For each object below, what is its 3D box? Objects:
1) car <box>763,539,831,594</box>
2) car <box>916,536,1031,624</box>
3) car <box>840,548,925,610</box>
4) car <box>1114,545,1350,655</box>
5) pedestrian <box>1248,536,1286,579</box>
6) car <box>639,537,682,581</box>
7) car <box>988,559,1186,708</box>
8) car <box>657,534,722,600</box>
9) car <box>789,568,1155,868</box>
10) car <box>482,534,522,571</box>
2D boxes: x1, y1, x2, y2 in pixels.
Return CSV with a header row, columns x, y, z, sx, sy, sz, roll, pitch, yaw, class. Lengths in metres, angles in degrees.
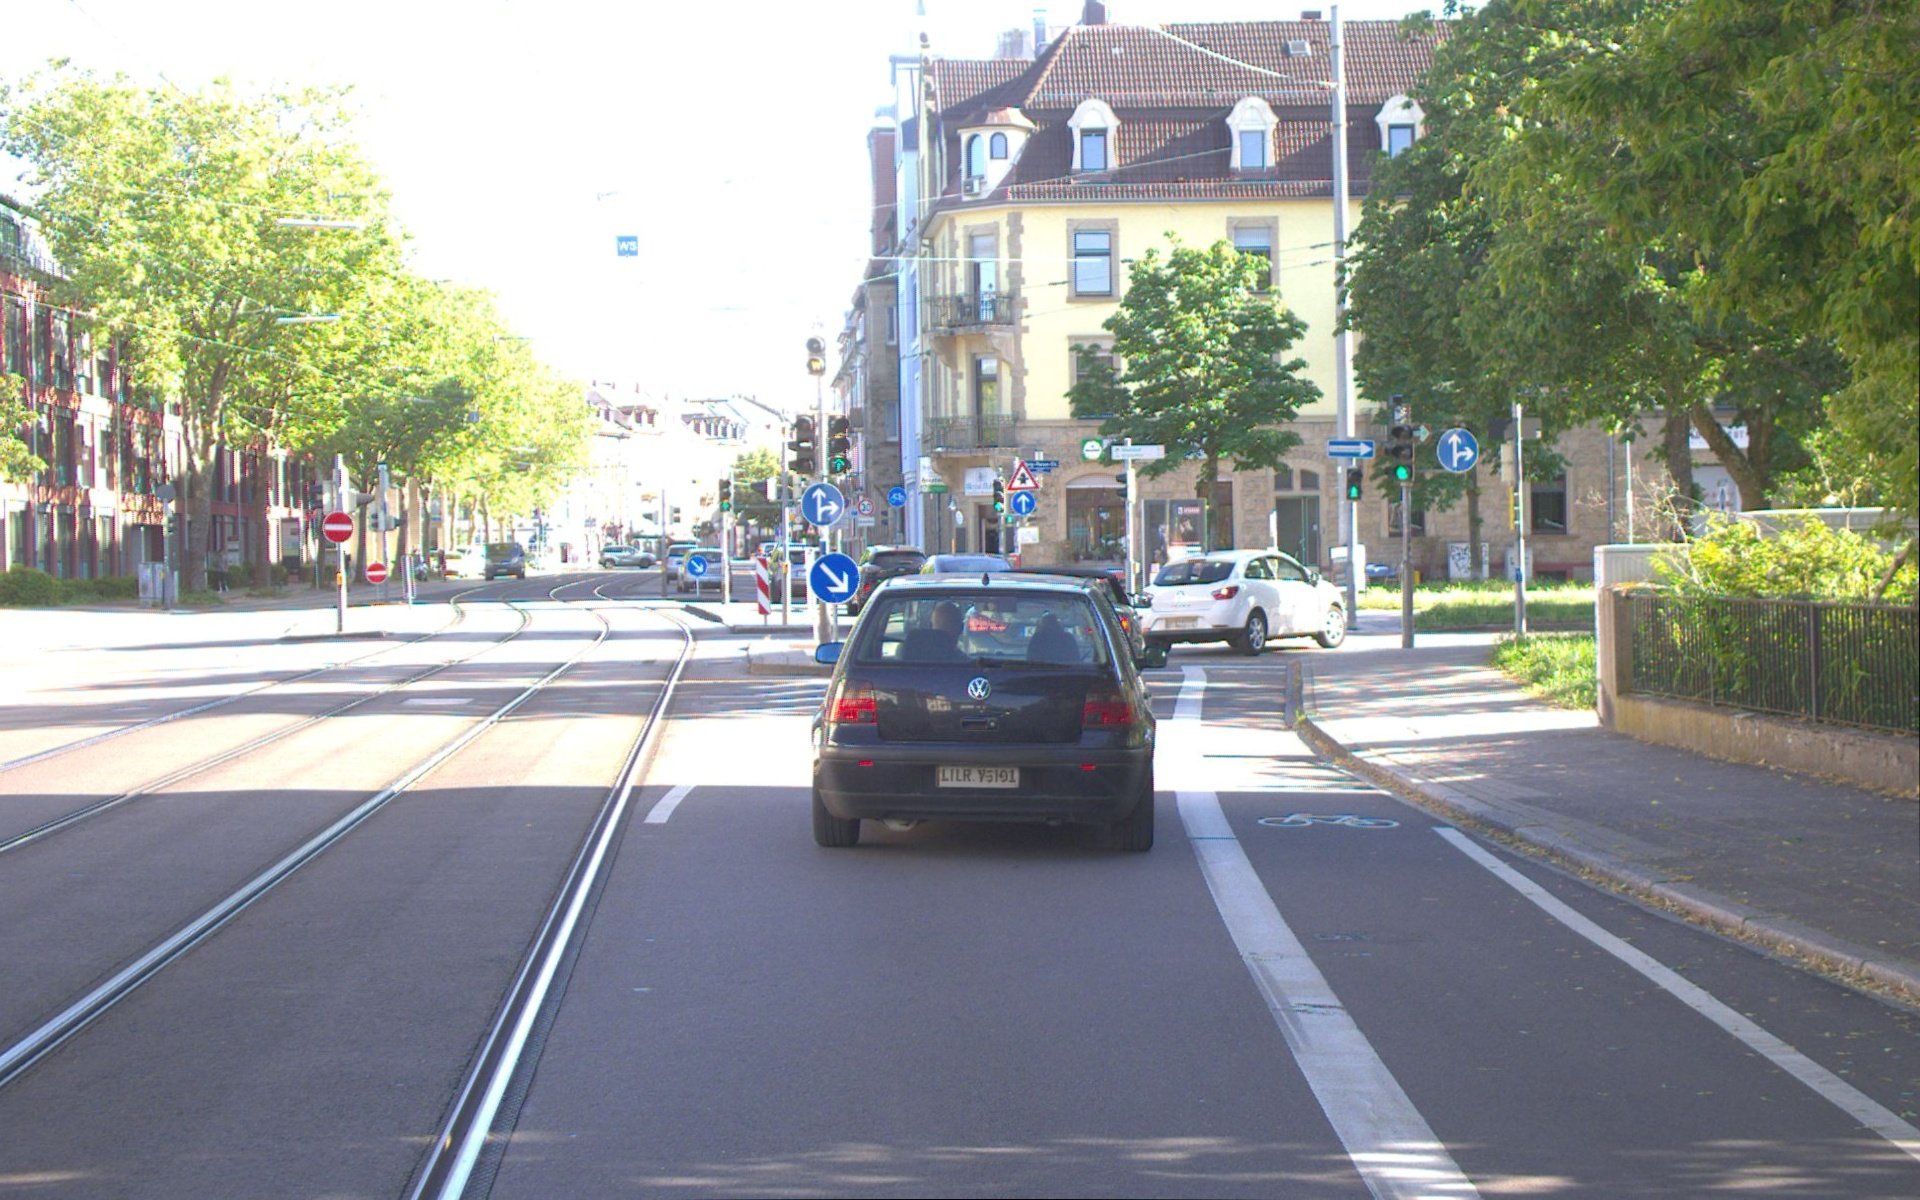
x,y,z,sx,sy,sz,roll,pitch,yaw,class
-4.474,-0.920,94.171,1.680,1.448,3.380,-1,1,-5,car
0.196,-0.362,58.971,1.569,1.306,3.648,-1,3,-6,car
-1.718,-0.477,75.310,1.569,1.307,3.500,-1,1,-6,car
3.835,-0.023,47.948,1.743,1.436,3.803,0,1,31,car
8.764,-1.214,98.166,0.979,1.183,0.743,-1,1,-4,pedestrian
-12.891,-1.772,147.694,1.787,1.853,4.001,-1,1,-5,car
1.221,0.296,34.479,1.634,1.367,3.758,-1,1,-3,car
-7.849,-0.963,99.513,1.787,1.853,4.001,-1,1,-5,car
0.167,0.540,18.351,1.716,1.398,4.006,1,1,3,car
-23.264,-2.414,174.652,1.971,1.809,4.298,-1,1,-8,car
